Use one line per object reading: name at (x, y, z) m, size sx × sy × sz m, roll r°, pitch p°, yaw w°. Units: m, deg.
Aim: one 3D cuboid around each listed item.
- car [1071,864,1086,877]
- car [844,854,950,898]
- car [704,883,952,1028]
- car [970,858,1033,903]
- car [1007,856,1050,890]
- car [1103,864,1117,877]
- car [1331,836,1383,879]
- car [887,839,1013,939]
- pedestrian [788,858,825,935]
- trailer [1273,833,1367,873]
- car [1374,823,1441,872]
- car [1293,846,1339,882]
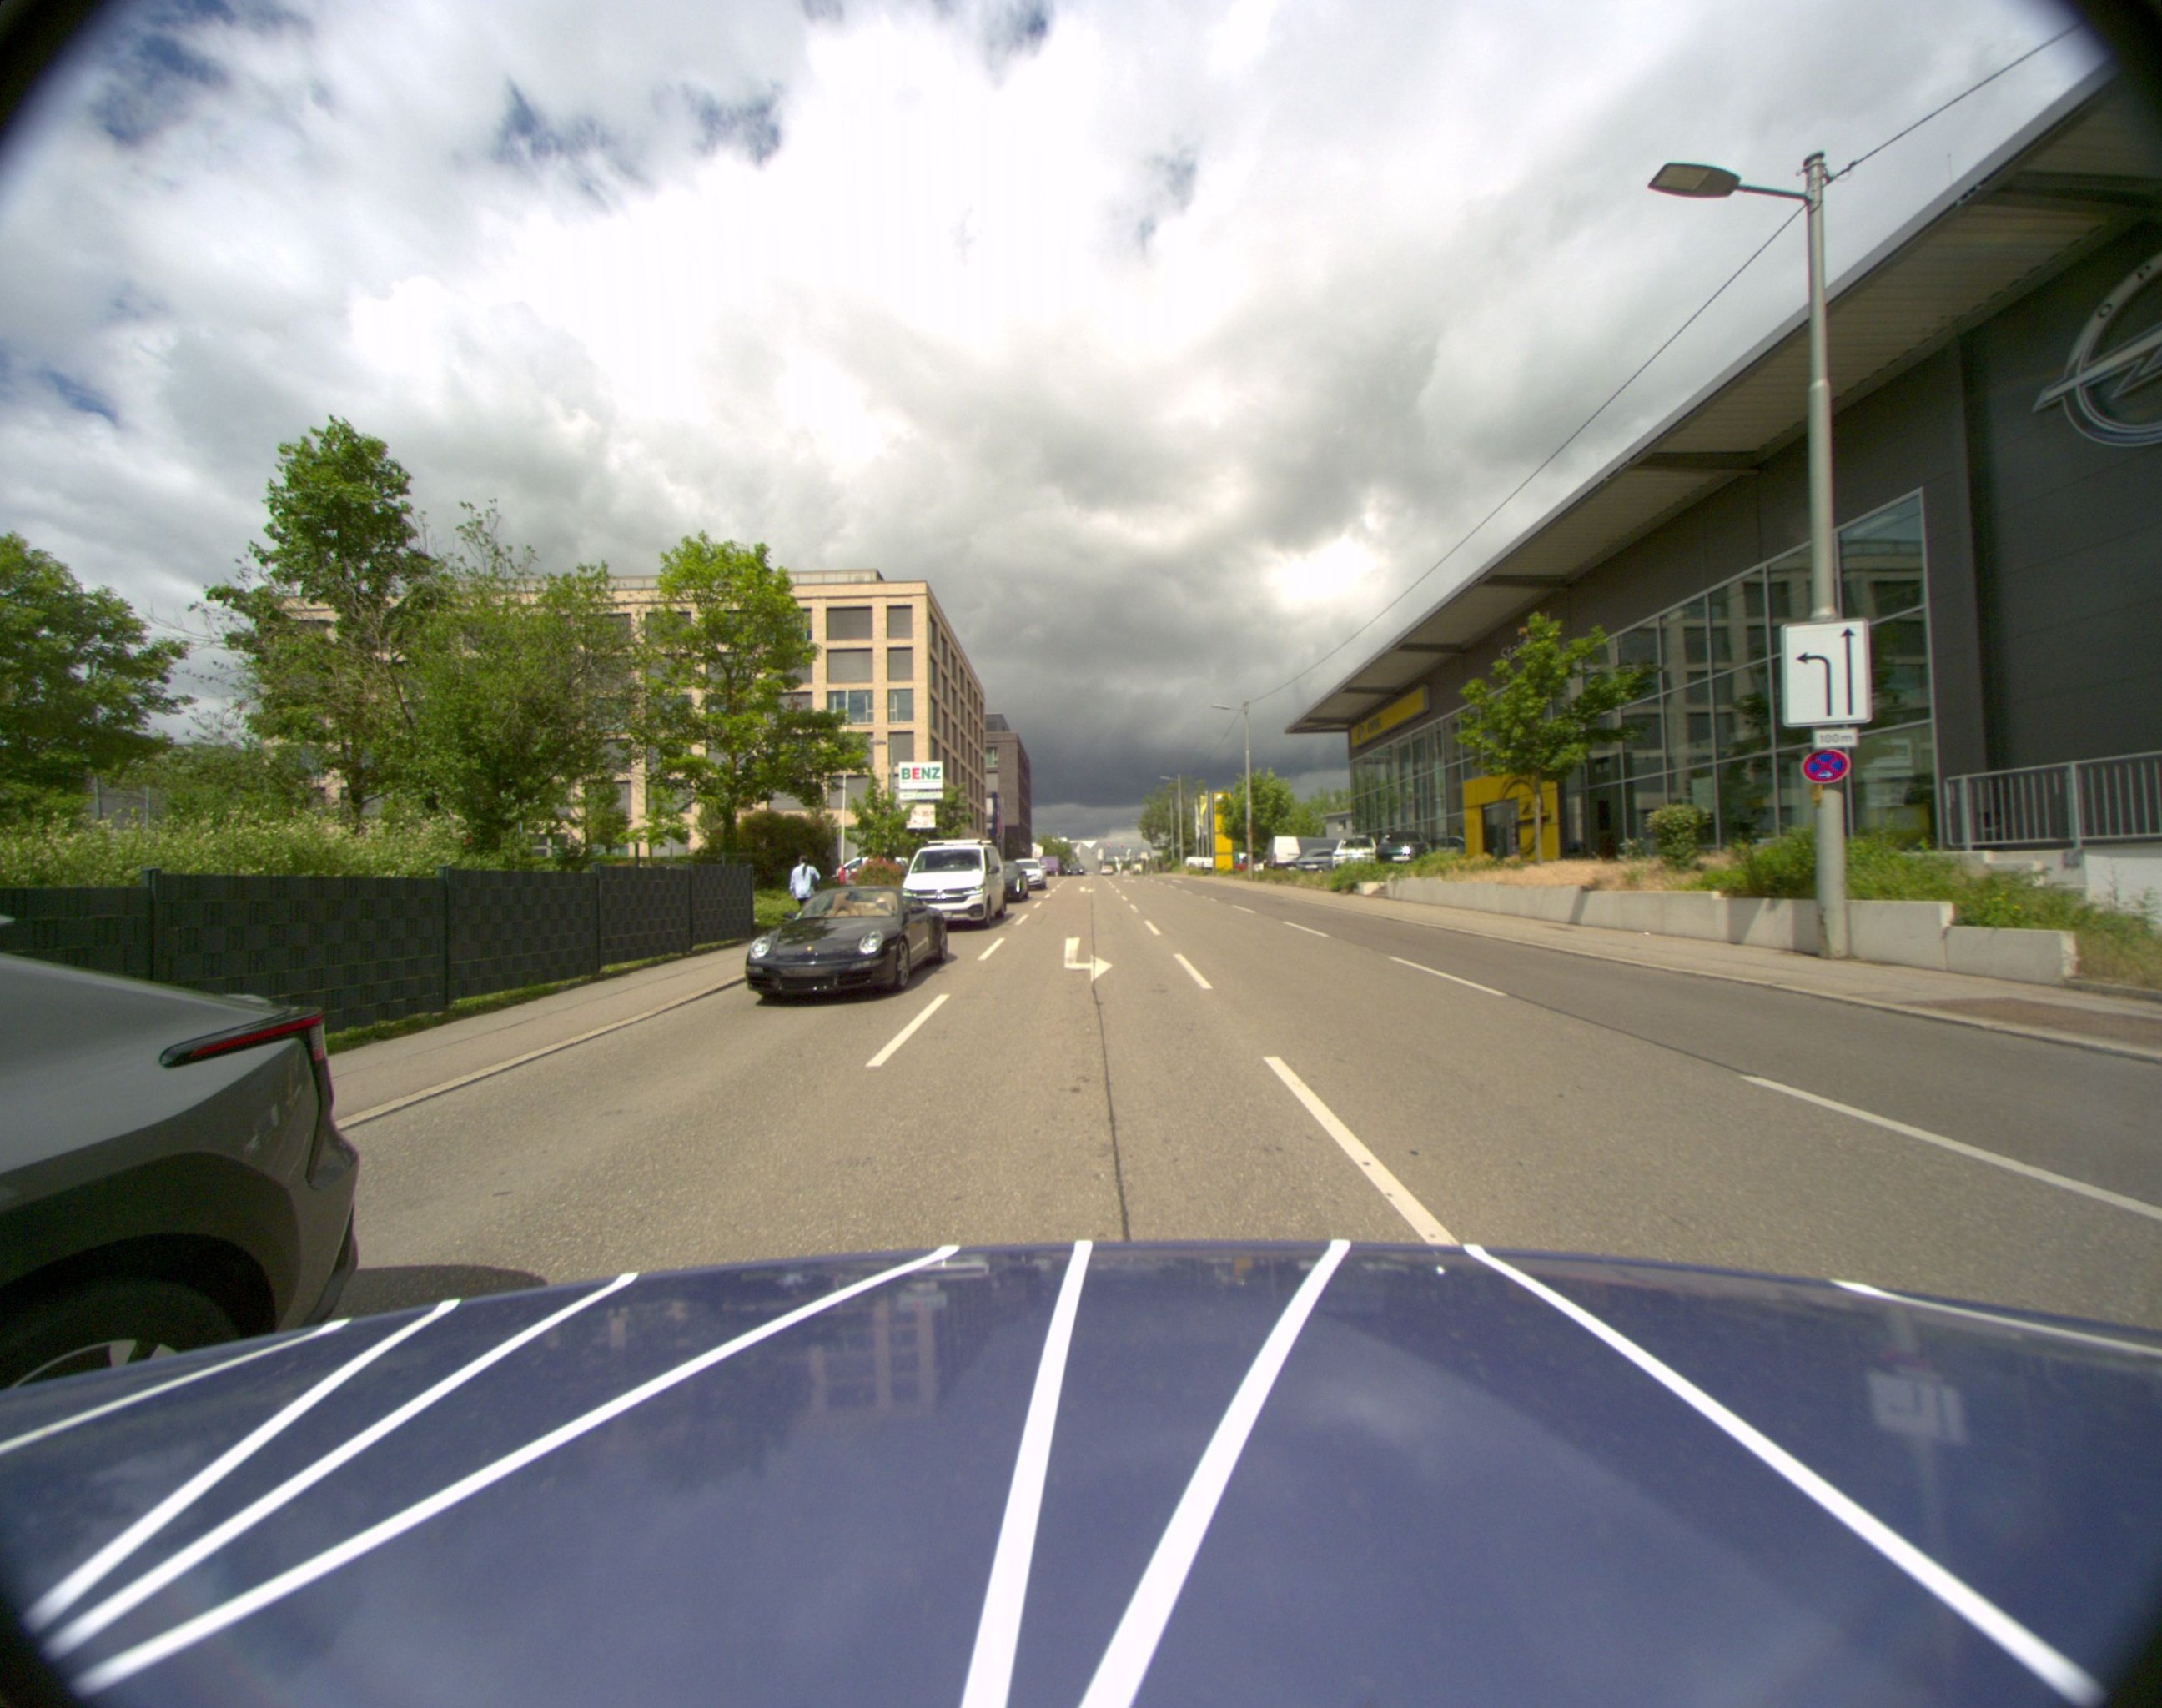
car at (-0.284, 1.889, 88.326) m, size 1.662 × 1.351 × 4.000 m, roll -1°, pitch 0°, yaw 1°
car at (-7.637, 0.906, 31.792) m, size 3.998 × 1.723 × 1.822 m, roll -1°, pitch 1°, yaw -3°
car at (-3.011, 1.147, 10.033) m, size 1.824 × 1.286 × 4.038 m, roll -2°, pitch 0°, yaw 1°
car at (-2.833, 0.921, 27.885) m, size 1.818 × 1.454 × 4.000 m, roll -1°, pitch 0°, yaw 1°
car at (-2.598, 0.905, 38.426) m, size 1.818 × 1.577 × 4.000 m, roll -1°, pitch 0°, yaw 1°
car at (4.472, 2.540, 117.137) m, size 1.998 × 1.731 × 4.547 m, roll -2°, pitch 0°, yaw 1°
car at (12.163, 0.138, 33.439) m, size 1.995 × 1.783 × 4.006 m, roll -1°, pitch 0°, yaw 21°
car at (-2.986, 0.727, 18.431) m, size 2.089 × 2.037 × 4.760 m, roll -2°, pitch 0°, yaw 1°
pedestrian at (-6.032, 0.920, 16.705) m, size 0.632 × 1.648 × 0.443 m, roll -1°, pitch 1°, yaw -1°
trailer at (14.446, -0.057, 46.172) m, size 5.074 × 2.336 × 2.000 m, roll -1°, pitch 1°, yaw -1°
car at (12.331, -0.243, 28.928) m, size 1.996 × 1.718 × 4.005 m, roll -1°, pitch 0°, yaw 18°
car at (12.102, 0.479, 39.012) m, size 1.995 × 1.783 × 4.006 m, roll -1°, pitch 0°, yaw 21°
